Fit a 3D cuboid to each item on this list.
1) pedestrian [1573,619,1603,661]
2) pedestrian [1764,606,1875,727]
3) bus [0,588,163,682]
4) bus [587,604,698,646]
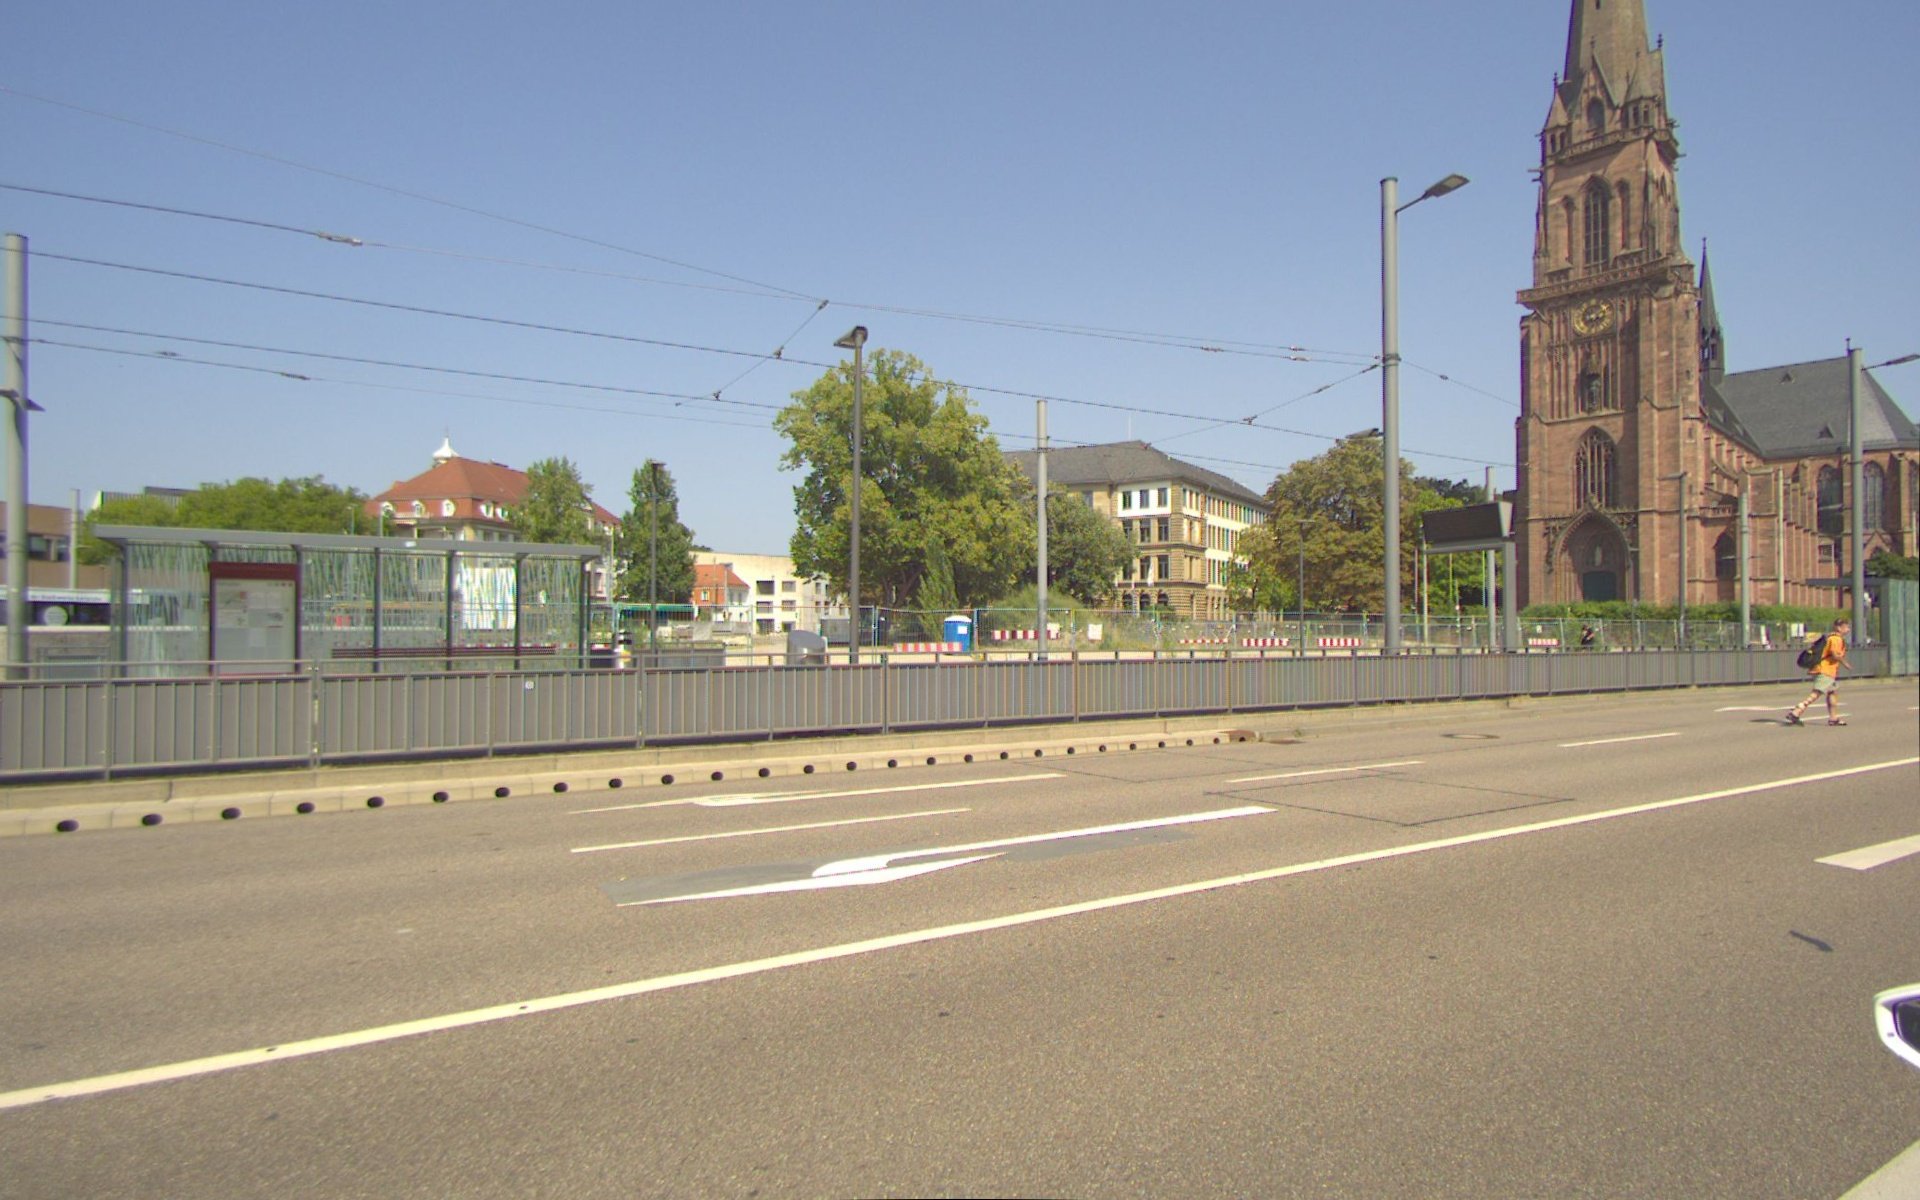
[{"bbox_3d":[26.767,1.704,42.819,0.712,1.775,0.825,2,-2,-30],"label":"pedestrian"},{"bbox_3d":[13.029,0.986,15.259,1.047,1.775,0.764,0,-2,18],"label":"pedestrian"},{"bbox_3d":[-35.967,1.243,35.923,2.623,3.375,12.765,0,-1,14],"label":"bus"},{"bbox_3d":[-25.512,1.937,81.659,2.491,3.072,12.442,-2,-1,13],"label":"bus"}]
